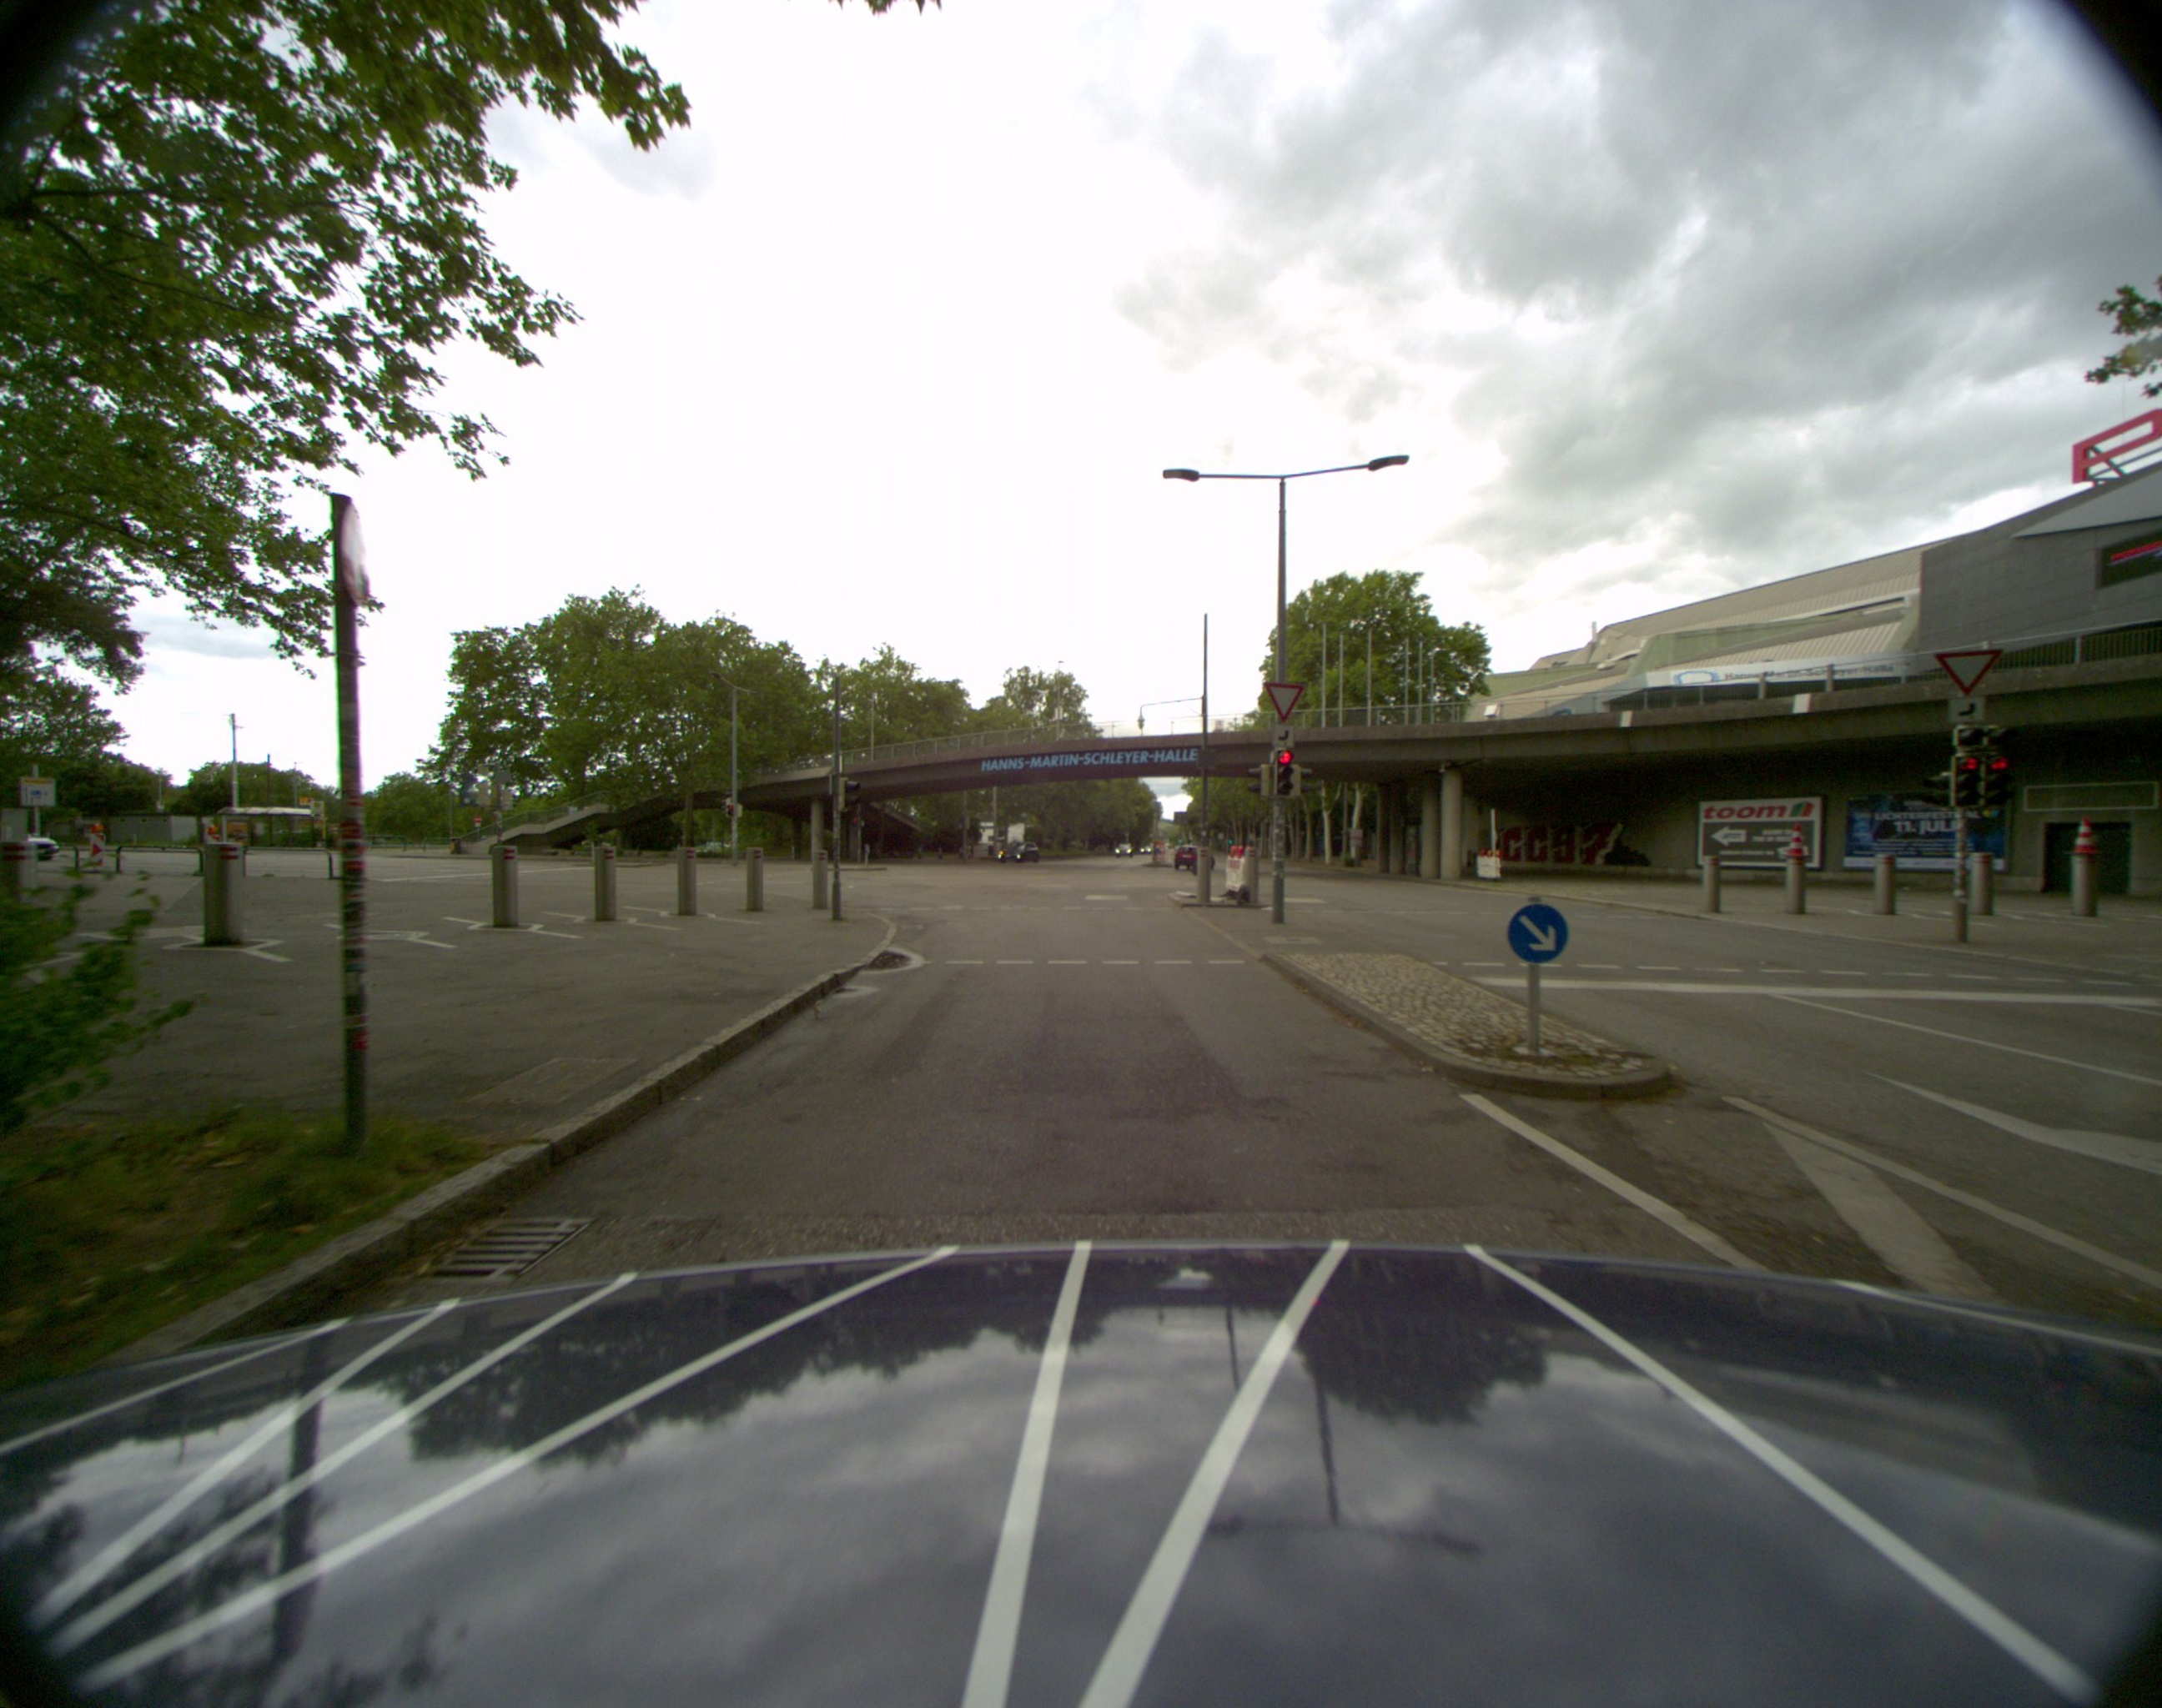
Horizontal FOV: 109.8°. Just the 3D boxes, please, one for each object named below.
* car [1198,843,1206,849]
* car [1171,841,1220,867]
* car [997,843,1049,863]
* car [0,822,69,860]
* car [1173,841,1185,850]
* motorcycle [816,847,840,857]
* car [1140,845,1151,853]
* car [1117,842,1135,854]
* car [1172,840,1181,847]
[{"bbox_3d":[27.631,-1.857,173.753,1.613,1.305,3.396,1,2,7],"label":"car"},{"bbox_3d":[6.916,-0.040,45.548,1.830,1.443,4.082,2,2,24],"label":"car"},{"bbox_3d":[-4.242,-0.132,55.779,1.758,1.314,3.723,3,3,37],"label":"car"},{"bbox_3d":[-44.485,-0.572,31.162,3.995,1.502,1.801,1,1,7],"label":"car"},{"bbox_3d":[16.596,-1.515,128.593,1.997,1.411,4.001,1,2,7],"label":"car"},{"bbox_3d":[-20.624,-0.171,61.919,1.734,0.846,0.650,1,1,12],"label":"motorcycle"},{"bbox_3d":[12.272,-1.028,143.724,1.761,1.357,3.718,2,3,10],"label":"car"},{"bbox_3d":[5.366,-0.736,90.507,1.761,1.357,3.717,1,3,8],"label":"car"},{"bbox_3d":[26.883,-2.989,214.581,1.999,1.650,3.998,1,2,0],"label":"car"}]
